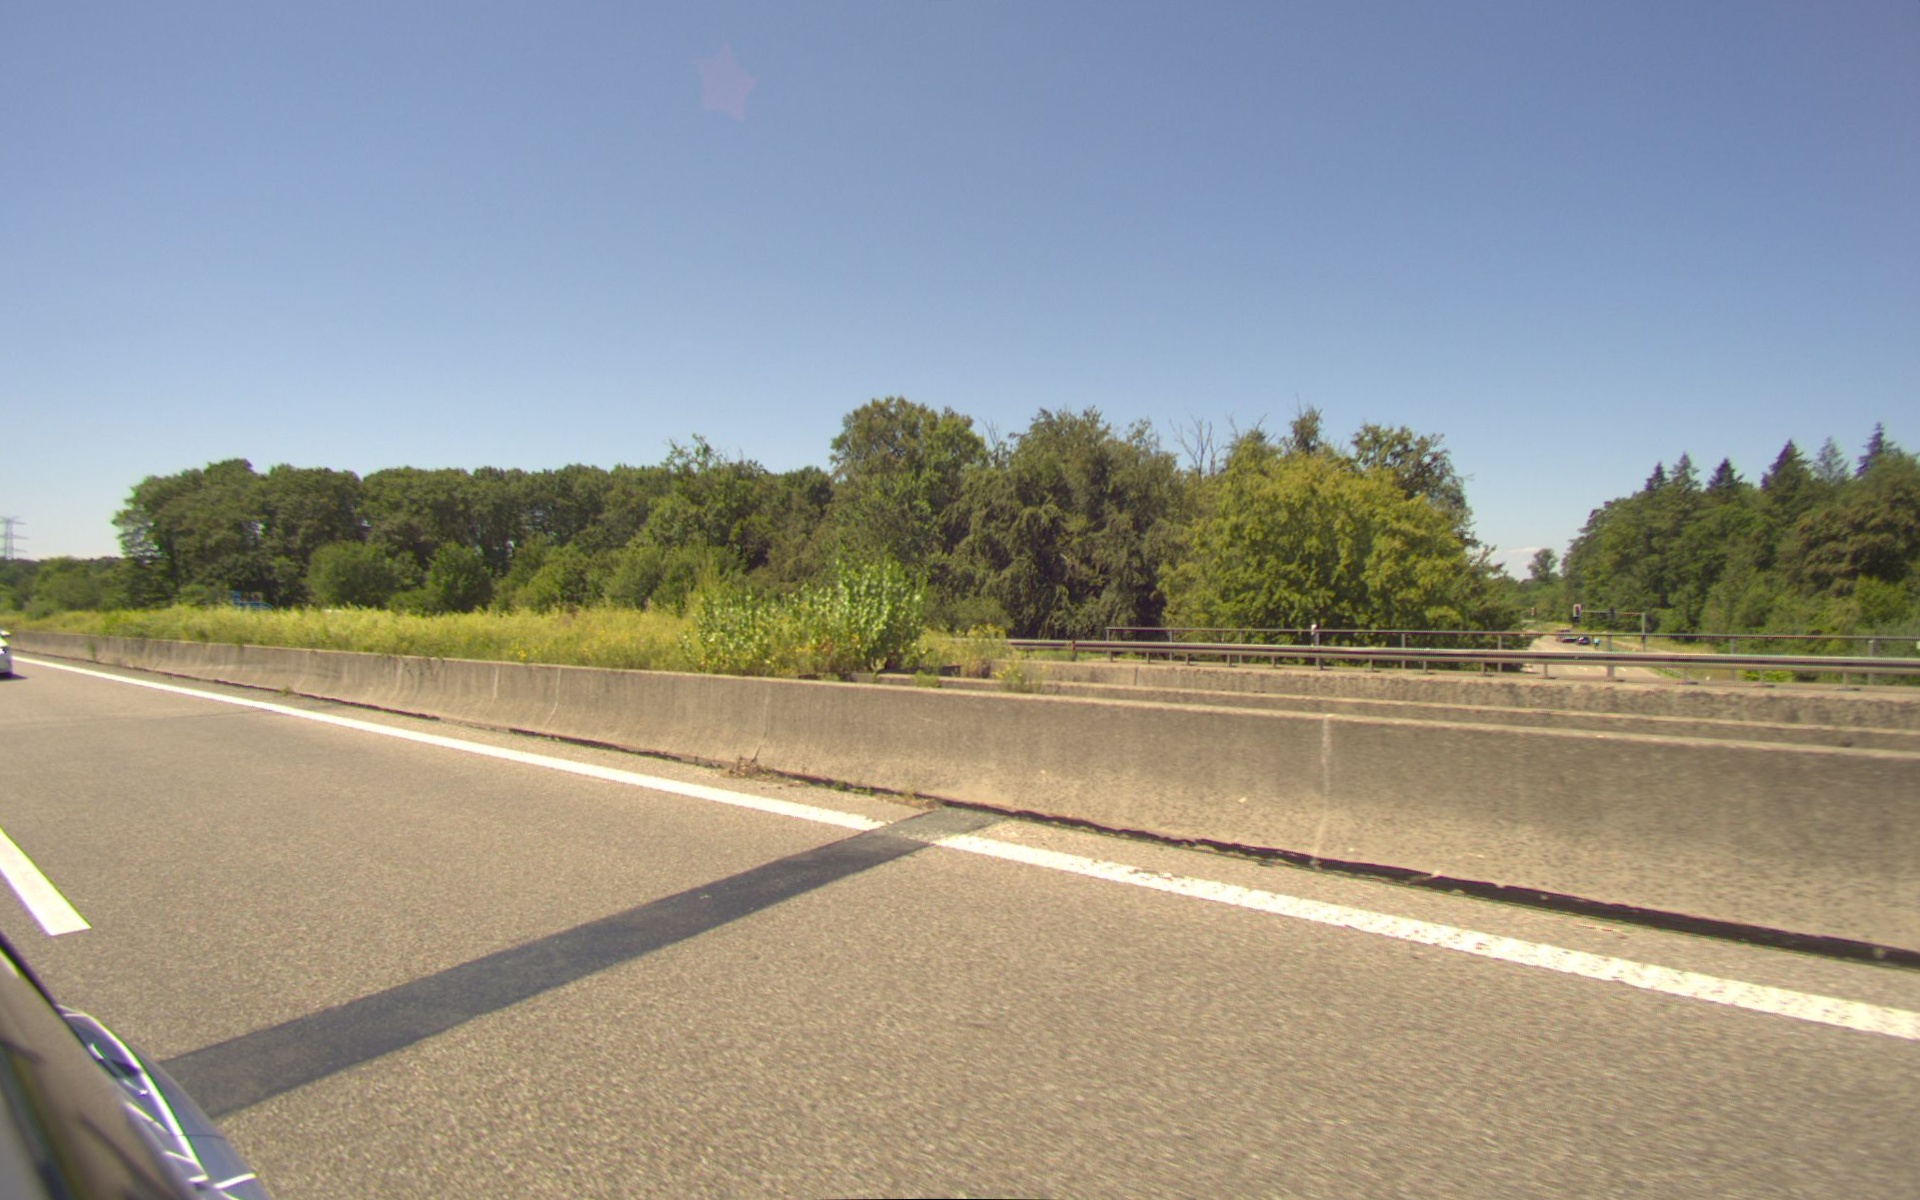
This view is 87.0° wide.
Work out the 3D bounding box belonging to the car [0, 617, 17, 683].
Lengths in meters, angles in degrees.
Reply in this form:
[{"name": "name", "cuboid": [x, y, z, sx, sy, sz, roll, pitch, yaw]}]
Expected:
[{"name": "car", "cuboid": [-23.439, 1.161, 23.395, 5.103, 1.459, 1.749, -1, 0, 40]}]
